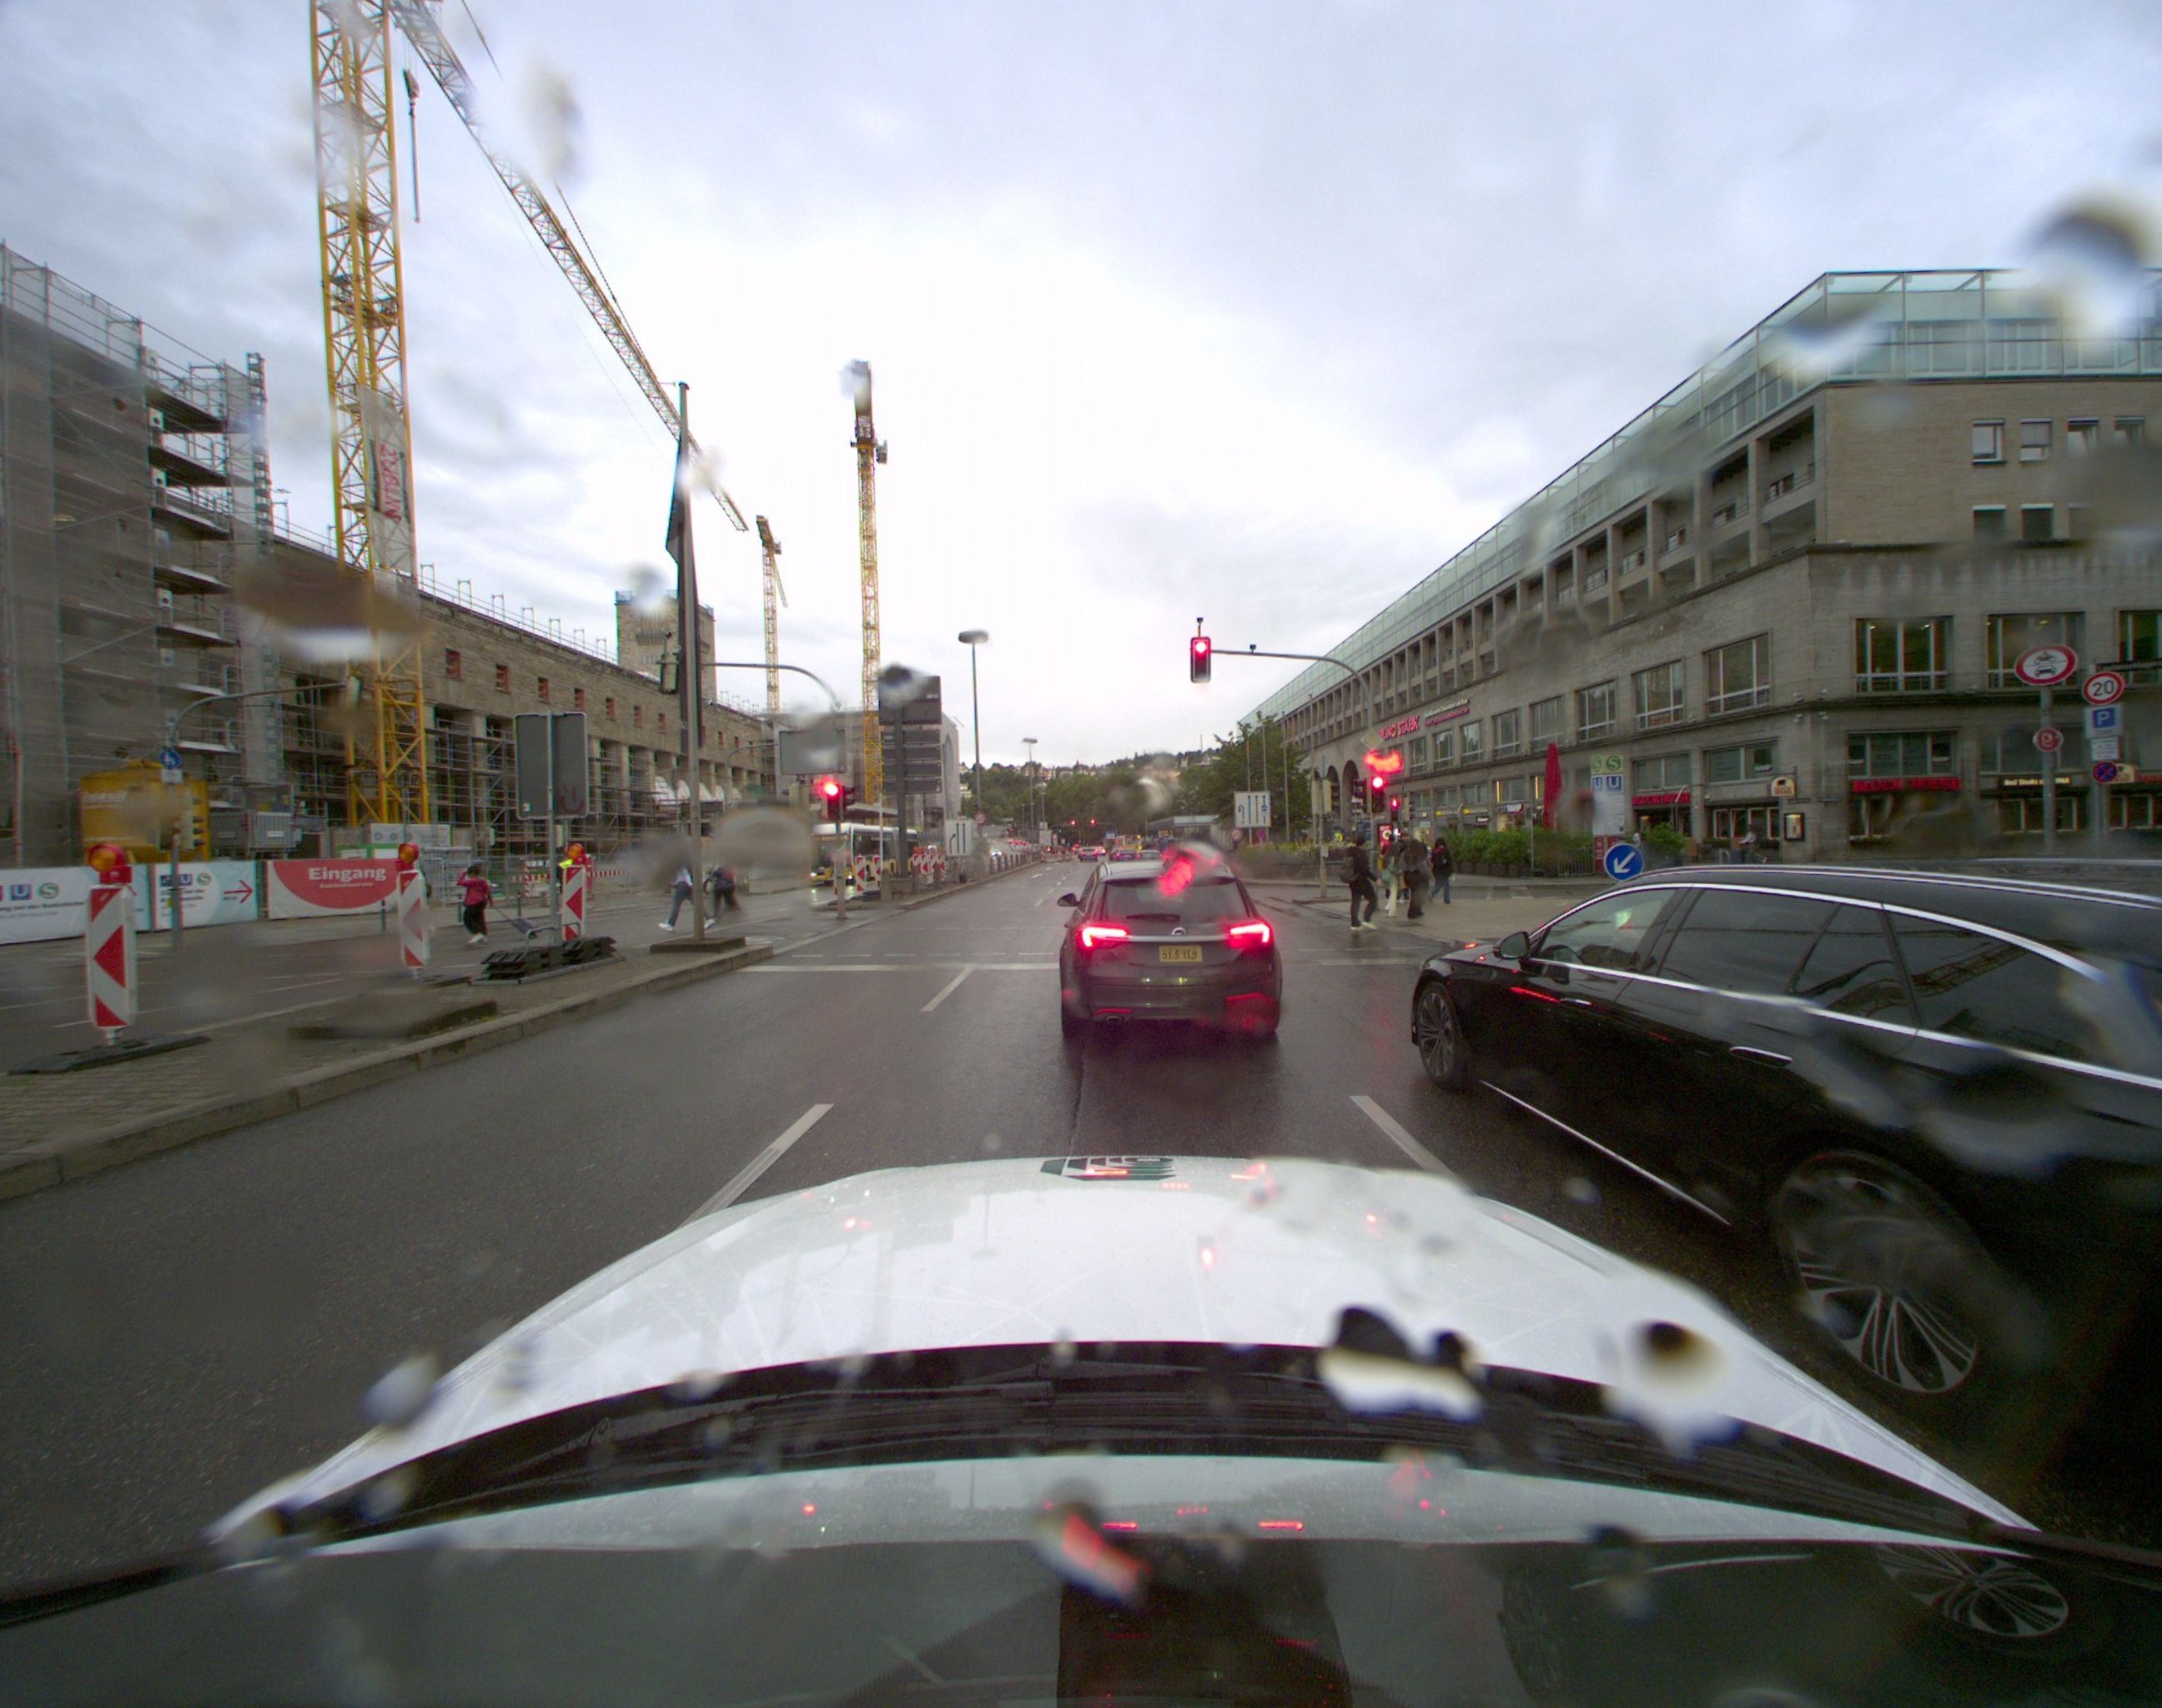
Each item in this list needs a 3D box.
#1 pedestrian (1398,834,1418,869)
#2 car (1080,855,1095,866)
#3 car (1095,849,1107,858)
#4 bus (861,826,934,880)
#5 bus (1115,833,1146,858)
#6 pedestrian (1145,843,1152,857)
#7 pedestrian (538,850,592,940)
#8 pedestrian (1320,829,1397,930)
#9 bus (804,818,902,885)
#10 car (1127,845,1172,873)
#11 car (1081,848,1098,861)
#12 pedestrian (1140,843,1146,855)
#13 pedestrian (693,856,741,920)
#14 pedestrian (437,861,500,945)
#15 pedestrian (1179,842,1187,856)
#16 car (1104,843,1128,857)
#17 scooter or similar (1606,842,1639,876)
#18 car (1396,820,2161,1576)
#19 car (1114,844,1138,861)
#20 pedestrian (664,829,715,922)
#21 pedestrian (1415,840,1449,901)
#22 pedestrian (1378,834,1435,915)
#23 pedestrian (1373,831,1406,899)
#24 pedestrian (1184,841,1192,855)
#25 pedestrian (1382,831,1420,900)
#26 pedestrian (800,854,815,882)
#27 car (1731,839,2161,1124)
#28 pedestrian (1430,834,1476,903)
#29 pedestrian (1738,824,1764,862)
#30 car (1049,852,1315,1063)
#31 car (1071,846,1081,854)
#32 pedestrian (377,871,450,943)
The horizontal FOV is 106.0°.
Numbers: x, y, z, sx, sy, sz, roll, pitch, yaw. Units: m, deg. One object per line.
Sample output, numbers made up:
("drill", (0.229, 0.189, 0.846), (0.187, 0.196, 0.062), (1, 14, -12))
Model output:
("pedestrian", (18.663, -0.139, 46.470), (0.756, 2.014, 0.830), (-1, -1, 43))
("car", (0.856, 0.777, 105.907), (1.839, 1.398, 3.565), (0, 0, 2))
("car", (3.282, -0.137, 131.018), (1.839, 1.398, 3.565), (0, 0, 2))
("bus", (-13.066, -0.047, 59.035), (2.658, 3.602, 10.215), (0, 0, 2))
("bus", (7.211, -1.121, 120.954), (4.158, 3.469, 14.660), (0, 0, 2))
("pedestrian", (11.479, -0.628, 138.440), (1.194, 2.435, 1.229), (0, -1, 3))
("pedestrian", (-10.738, 0.835, 16.971), (0.576, 1.836, 0.820), (0, -1, 2))
("pedestrian", (5.072, 0.458, 14.935), (1.093, 1.751, 0.653), (-3, -1, -1))
("bus", (-13.387, -0.095, 48.850), (2.658, 3.602, 10.243), (0, 0, 2))
("car", (3.599, 0.259, 43.460), (1.842, 1.398, 3.661), (0, 0, -4))
("car", (0.862, 0.051, 85.768), (1.747, 1.398, 4.538), (0, 0, 0))
("pedestrian", (11.567, -0.947, 152.243), (1.194, 2.149, 1.229), (0, -1, 3))
("pedestrian", (-9.143, 0.840, 20.484), (0.870, 1.561, 0.786), (0, -1, -2))
("pedestrian", (-13.111, 1.031, 17.457), (0.797, 1.717, 0.619), (-3, 0, -2))
("pedestrian", (11.977, -0.566, 95.392), (0.761, 1.690, 0.824), (0, -1, -3))
("car", (3.738, -0.402, 88.104), (1.752, 1.398, 4.388), (0, 0, -9))
("scooter or similar", (19.370, 0.187, 29.138), (0.290, 1.189, 1.014), (0, -1, -17))
("car", (3.076, 0.687, 3.440), (1.787, 1.501, 4.629), (0, 0, 1))
("car", (3.875, -0.105, 70.818), (1.748, 1.398, 4.647), (0, 0, -1))
("pedestrian", (-8.204, 0.441, 17.068), (0.798, 1.890, 0.618), (0, -1, -7))
("pedestrian", (8.587, 0.402, 19.929), (0.677, 1.474, 0.366), (0, -1, -3))
("pedestrian", (6.721, 0.405, 16.833), (0.791, 1.626, 0.899), (0, -1, -2))
("pedestrian", (8.061, 0.283, 21.281), (0.563, 1.752, 0.684), (-1, -1, 44))
("pedestrian", (12.382, -0.687, 94.064), (0.761, 1.690, 0.824), (0, -1, -3))
("pedestrian", (8.009, 0.280, 20.397), (0.753, 1.717, 0.466), (0, -1, -2))
("pedestrian", (-16.314, 0.823, 48.656), (0.657, 1.680, 0.644), (0, -1, 2))
("car", (6.574, 0.662, 4.850), (1.868, 1.486, 4.527), (0, 0, 1))
("pedestrian", (8.866, 0.339, 19.411), (0.797, 1.608, 0.619), (0, -1, -2))
("pedestrian", (27.067, -0.442, 32.883), (0.750, 1.512, 0.721), (-1, -1, 43))
("car", (0.758, 0.741, 7.754), (1.868, 1.486, 4.001), (0, 0, 1))
("car", (-0.918, -0.655, 150.200), (1.752, 1.398, 3.565), (0, 0, 2))
("pedestrian", (-15.176, 1.183, 18.552), (0.912, 1.563, 0.899), (0, -1, -2))
